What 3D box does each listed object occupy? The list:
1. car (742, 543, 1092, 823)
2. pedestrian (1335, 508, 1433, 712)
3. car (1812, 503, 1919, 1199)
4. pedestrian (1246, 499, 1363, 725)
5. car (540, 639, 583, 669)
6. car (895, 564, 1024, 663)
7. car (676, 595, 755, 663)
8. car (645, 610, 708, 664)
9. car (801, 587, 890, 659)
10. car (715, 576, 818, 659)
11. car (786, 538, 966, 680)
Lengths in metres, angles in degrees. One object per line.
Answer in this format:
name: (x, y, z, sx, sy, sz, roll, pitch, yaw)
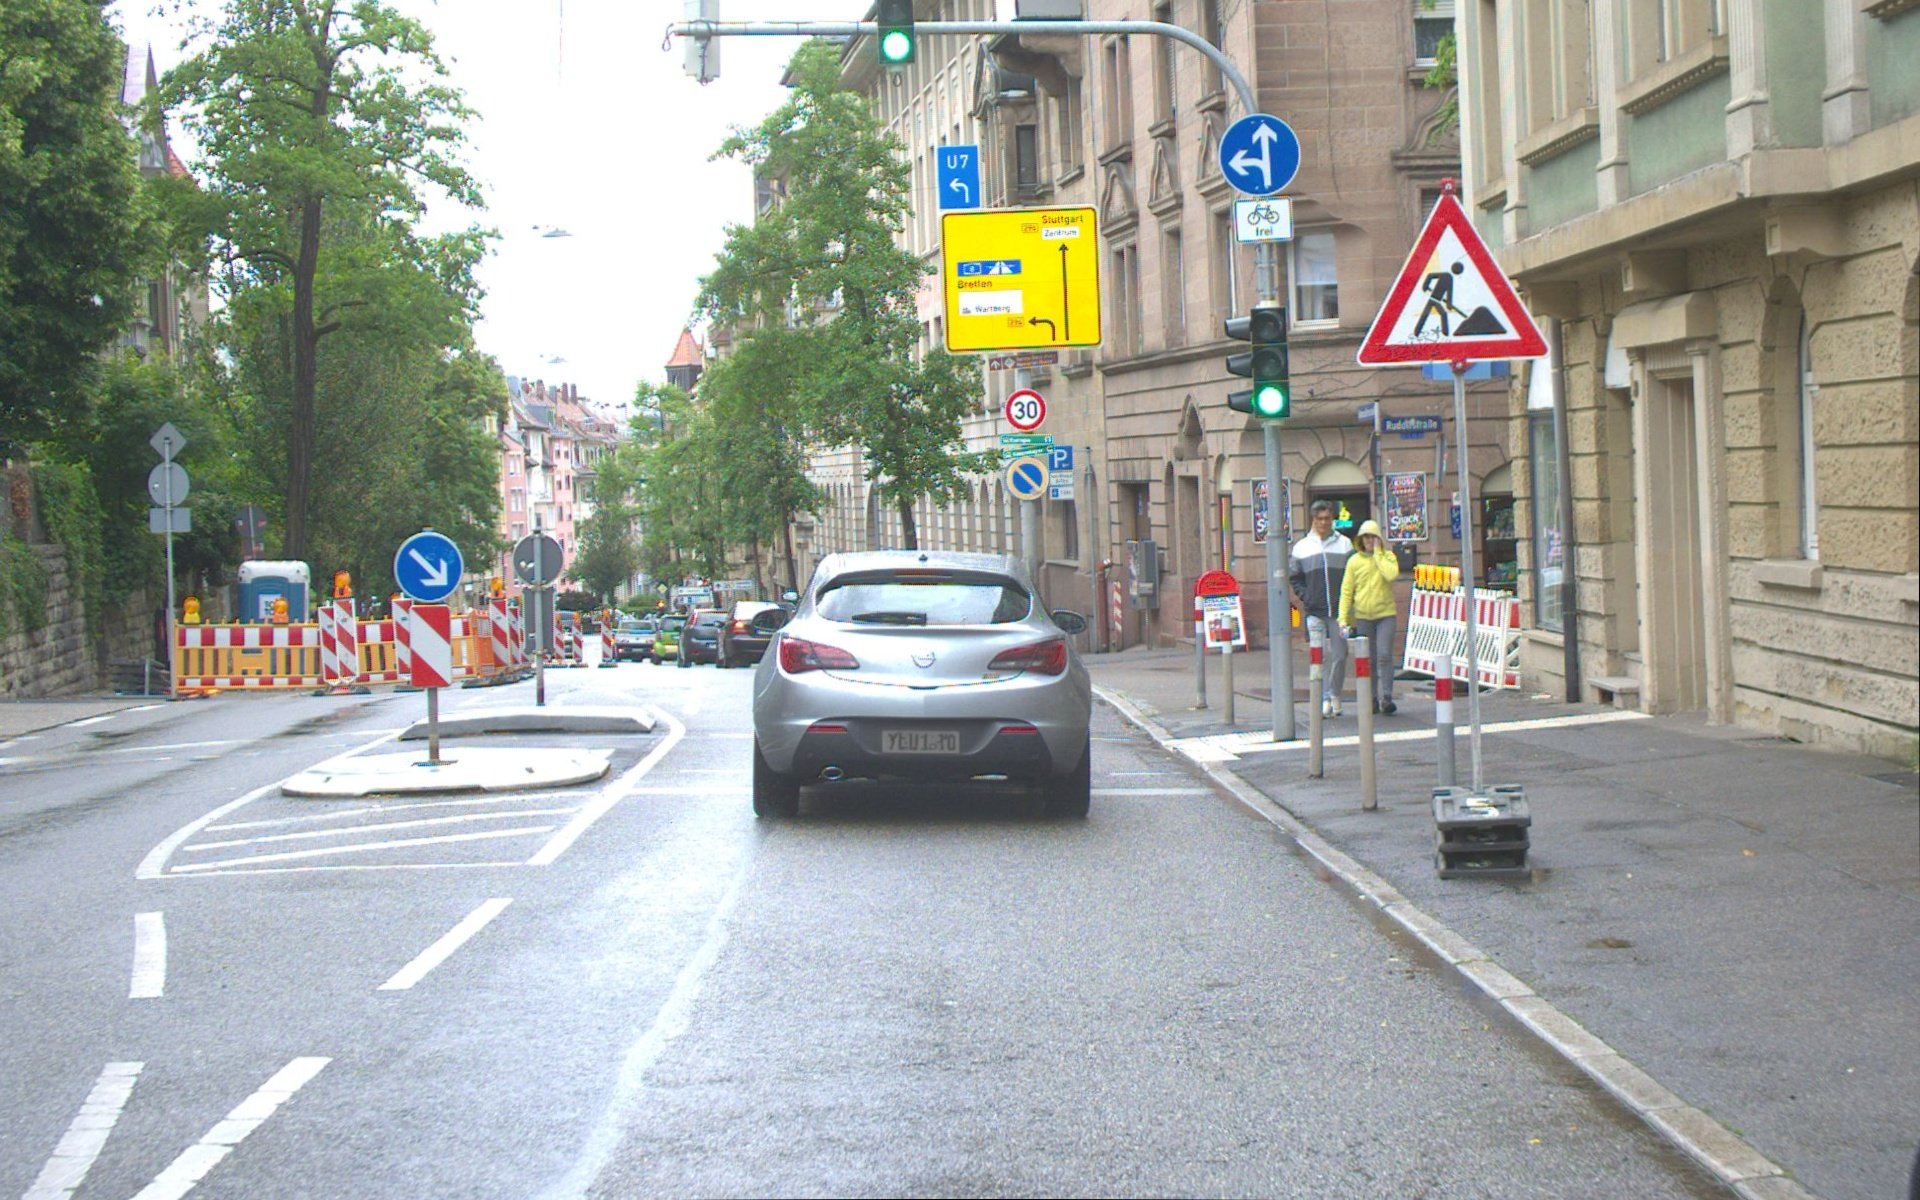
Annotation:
car: (-0.206, 0.441, 19.770, 1.811, 1.445, 3.869, 0, 0, 1)
pedestrian: (3.398, 0.074, 27.542, 0.597, 1.579, 0.665, -3, 1, 16)
car: (2.594, 0.567, 4.153, 1.877, 1.624, 4.697, -4, 0, 0)
pedestrian: (2.785, 0.090, 27.775, 0.718, 1.768, 0.665, -3, 1, 17)
car: (-20.672, 2.803, 178.397, 1.993, 1.496, 4.001, -1, -1, -9)
car: (-0.040, 0.251, 59.038, 1.656, 1.538, 3.666, -4, -1, -7)
car: (-6.107, 0.740, 85.538, 1.656, 1.538, 3.666, -4, -1, -7)
car: (-8.732, 1.146, 105.617, 1.656, 1.538, 3.666, -4, -1, -7)
car: (-2.705, 0.547, 80.688, 1.638, 1.515, 3.184, -4, 0, -8)
car: (-3.987, 0.383, 70.269, 1.656, 1.538, 3.666, -4, -1, -9)
car: (-0.994, 0.110, 38.509, 1.772, 1.499, 3.869, 0, 0, -5)
